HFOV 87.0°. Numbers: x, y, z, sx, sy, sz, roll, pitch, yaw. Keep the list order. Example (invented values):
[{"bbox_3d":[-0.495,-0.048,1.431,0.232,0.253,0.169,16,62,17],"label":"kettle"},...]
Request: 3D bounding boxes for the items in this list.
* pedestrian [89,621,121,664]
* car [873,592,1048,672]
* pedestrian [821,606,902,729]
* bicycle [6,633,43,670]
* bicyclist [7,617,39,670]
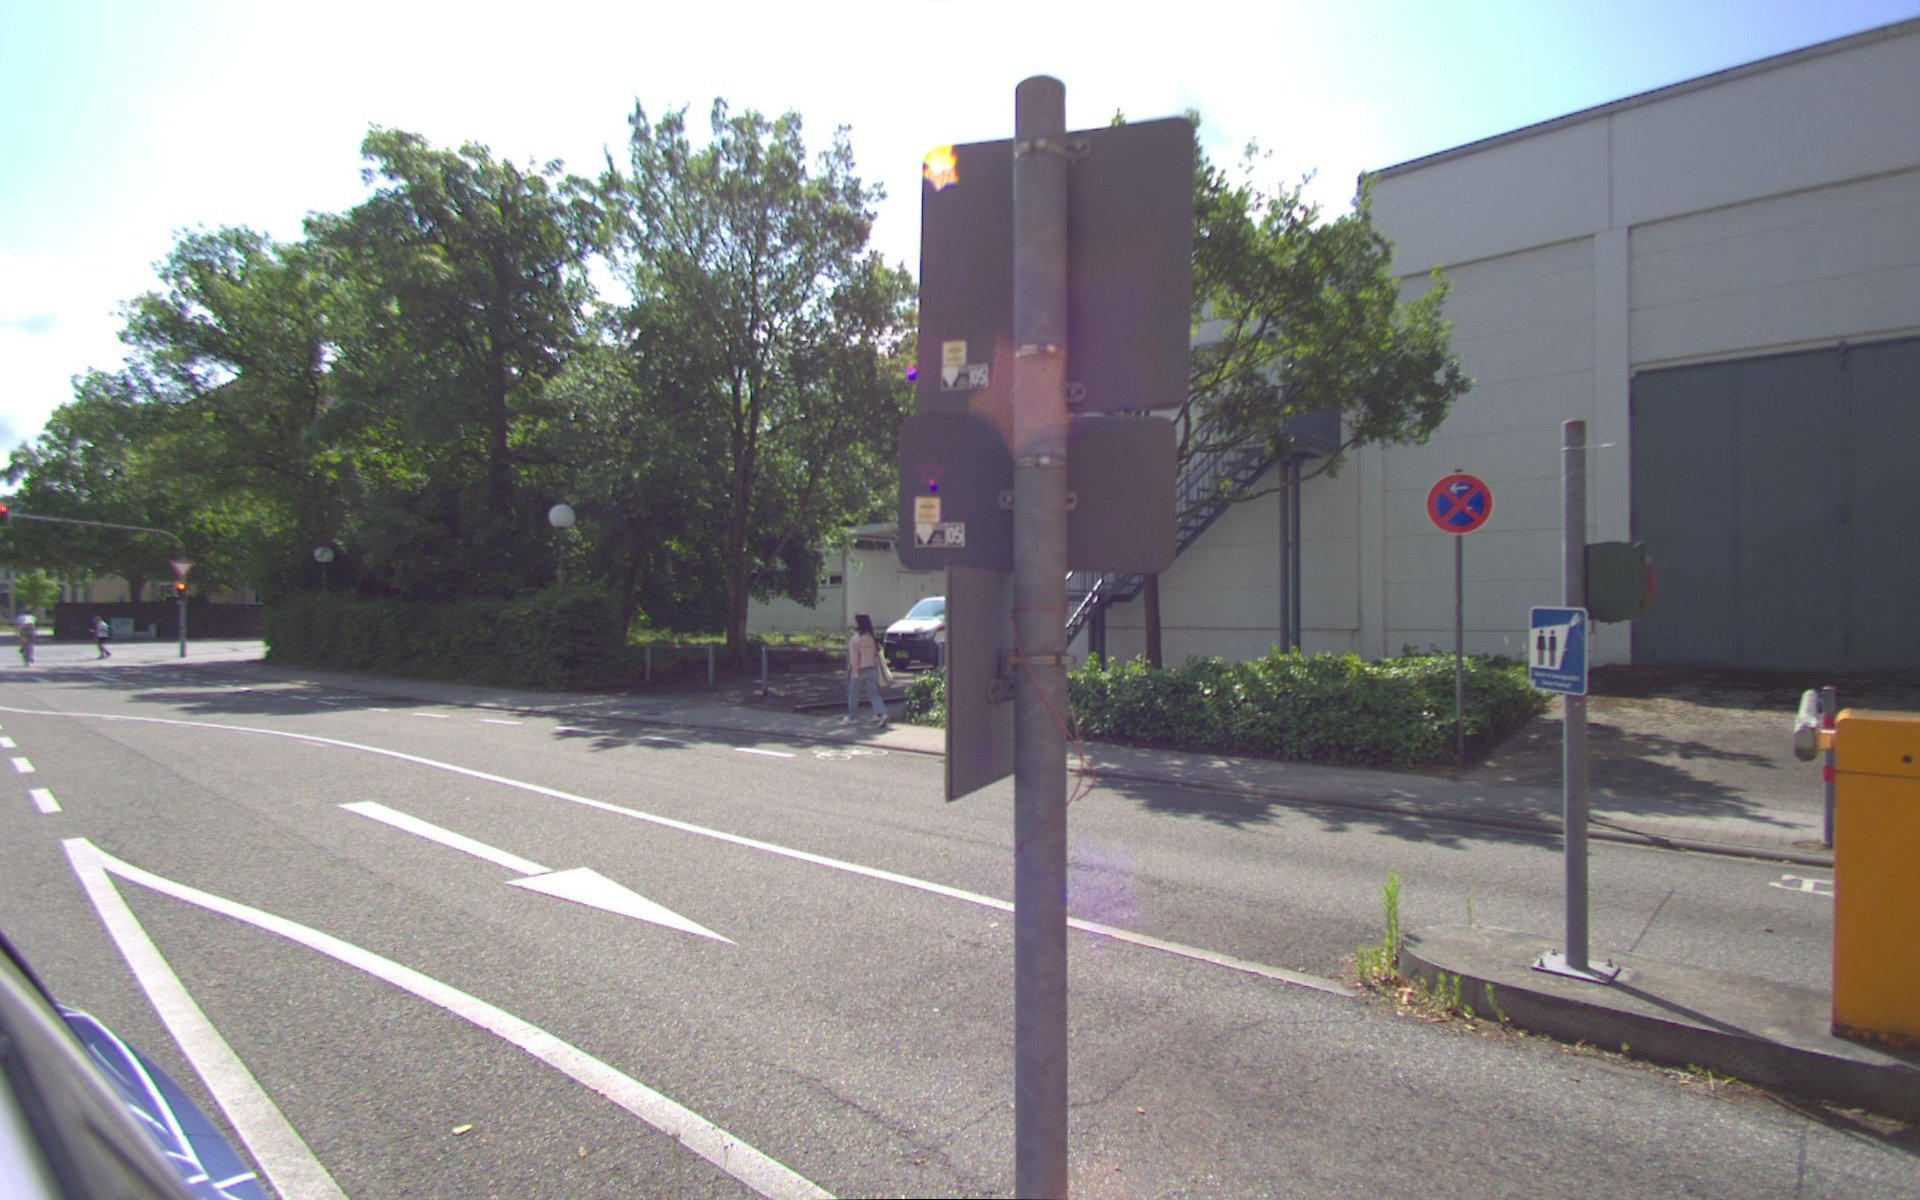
[{"bbox_3d":[-35.017,1.734,41.426,0.917,1.714,0.854,2,-3,-44],"label":"pedestrian"},{"bbox_3d":[0.103,0.821,27.760,2.001,2.001,4.865,0,-1,44],"label":"car"},{"bbox_3d":[-1.371,0.909,14.014,0.883,1.639,0.705,-1,-2,41],"label":"pedestrian"},{"bbox_3d":[-31.620,1.724,34.194,2.209,1.180,0.685,-1,-2,42],"label":"bicycle"},{"bbox_3d":[-31.700,1.462,34.230,0.918,1.750,0.685,-1,-2,42],"label":"bicyclist"}]
